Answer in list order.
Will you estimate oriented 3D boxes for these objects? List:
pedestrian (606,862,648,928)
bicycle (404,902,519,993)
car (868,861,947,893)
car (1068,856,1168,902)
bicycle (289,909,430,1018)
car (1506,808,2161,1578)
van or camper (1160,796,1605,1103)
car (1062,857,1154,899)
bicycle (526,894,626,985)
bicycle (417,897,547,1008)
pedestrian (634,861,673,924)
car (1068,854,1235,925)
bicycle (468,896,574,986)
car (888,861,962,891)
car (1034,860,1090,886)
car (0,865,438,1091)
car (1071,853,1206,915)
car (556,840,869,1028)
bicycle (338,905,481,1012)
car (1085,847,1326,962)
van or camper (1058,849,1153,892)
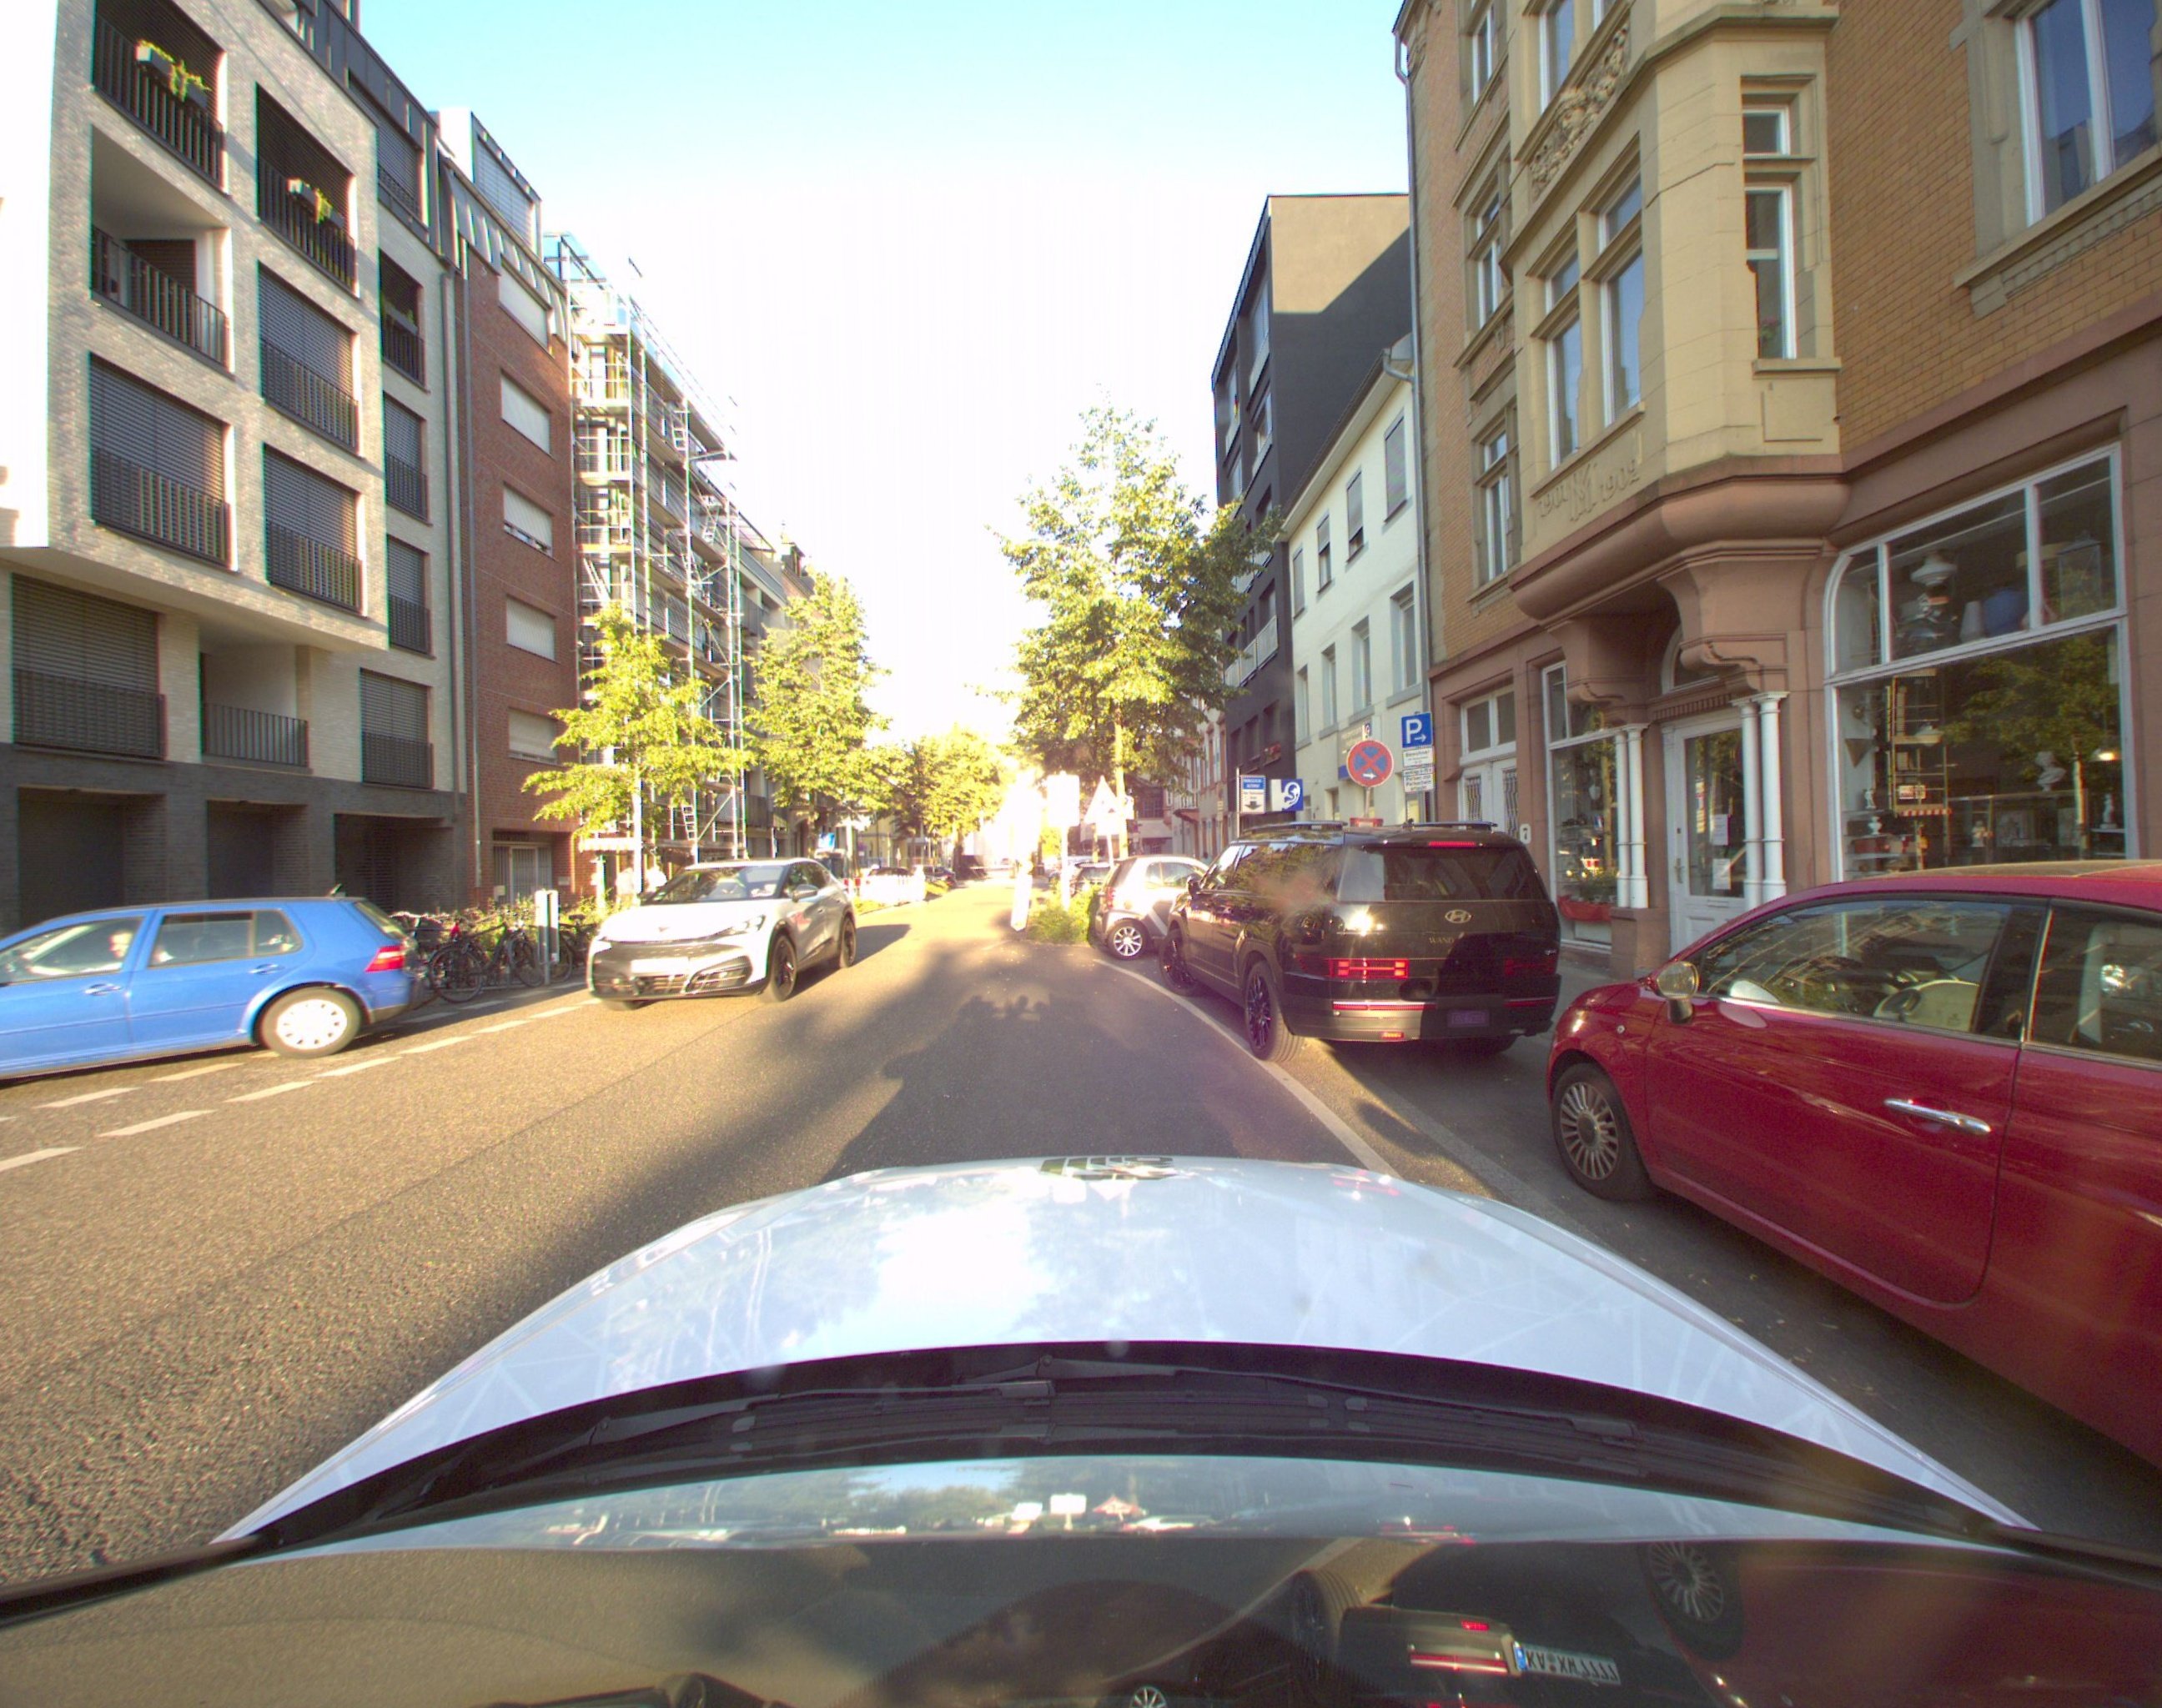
[{"bbox_3d":[-12.635,1.136,22.699,0.739,1.783,0.656,-2,-1,-1],"label":"pedestrian"},{"bbox_3d":[-9.055,1.330,11.969,0.485,1.149,1.552,-2,0,0],"label":"bicycle"},{"bbox_3d":[-9.760,1.264,45.956,3.972,1.684,1.891,-1,0,1],"label":"car"},{"bbox_3d":[1.374,0.928,31.251,3.677,1.670,1.856,0,-1,-3],"label":"car"},{"bbox_3d":[-9.031,1.324,10.264,0.379,1.159,1.552,-2,0,0],"label":"bicycle"},{"bbox_3d":[2.969,0.686,2.554,1.520,1.570,3.422,-1,0,1],"label":"car"},{"bbox_3d":[2.082,0.576,7.179,1.887,1.807,4.451,-1,0,-6],"label":"van or camper"},{"bbox_3d":[1.073,0.956,33.760,3.677,1.670,1.856,0,-1,-3],"label":"car"},{"bbox_3d":[-7.490,1.232,12.158,0.505,1.179,1.552,-2,0,0],"label":"bicycle"},{"bbox_3d":[-7.586,1.204,10.392,0.495,1.220,1.552,-2,0,0],"label":"bicycle"},{"bbox_3d":[-12.466,1.113,23.753,0.739,1.783,0.656,-2,-1,-3],"label":"pedestrian"},{"bbox_3d":[1.702,0.848,20.533,3.986,1.670,1.856,0,-1,-3],"label":"car"},{"bbox_3d":[-8.294,1.257,12.127,0.485,1.163,1.552,-2,0,0],"label":"bicycle"},{"bbox_3d":[-9.257,1.287,48.644,3.972,1.684,1.891,-1,0,1],"label":"car"},{"bbox_3d":[-1.162,1.158,51.777,1.834,1.568,3.720,-1,-1,32],"label":"car"},{"bbox_3d":[-8.226,0.991,6.998,4.141,1.563,1.673,-3,-1,-41],"label":"car"},{"bbox_3d":[1.590,0.826,23.380,3.677,1.670,1.856,0,-1,-3],"label":"car"},{"bbox_3d":[-4.131,0.789,10.064,1.868,1.697,4.319,-4,0,-1],"label":"car"},{"bbox_3d":[-8.468,1.281,10.344,0.415,1.157,1.554,-2,0,5],"label":"bicycle"},{"bbox_3d":[1.911,0.741,12.908,3.469,1.575,1.503,-2,0,-10],"label":"car"},{"bbox_3d":[1.126,0.770,38.788,4.430,2.005,1.856,0,-1,-3],"label":"van or camper"}]
